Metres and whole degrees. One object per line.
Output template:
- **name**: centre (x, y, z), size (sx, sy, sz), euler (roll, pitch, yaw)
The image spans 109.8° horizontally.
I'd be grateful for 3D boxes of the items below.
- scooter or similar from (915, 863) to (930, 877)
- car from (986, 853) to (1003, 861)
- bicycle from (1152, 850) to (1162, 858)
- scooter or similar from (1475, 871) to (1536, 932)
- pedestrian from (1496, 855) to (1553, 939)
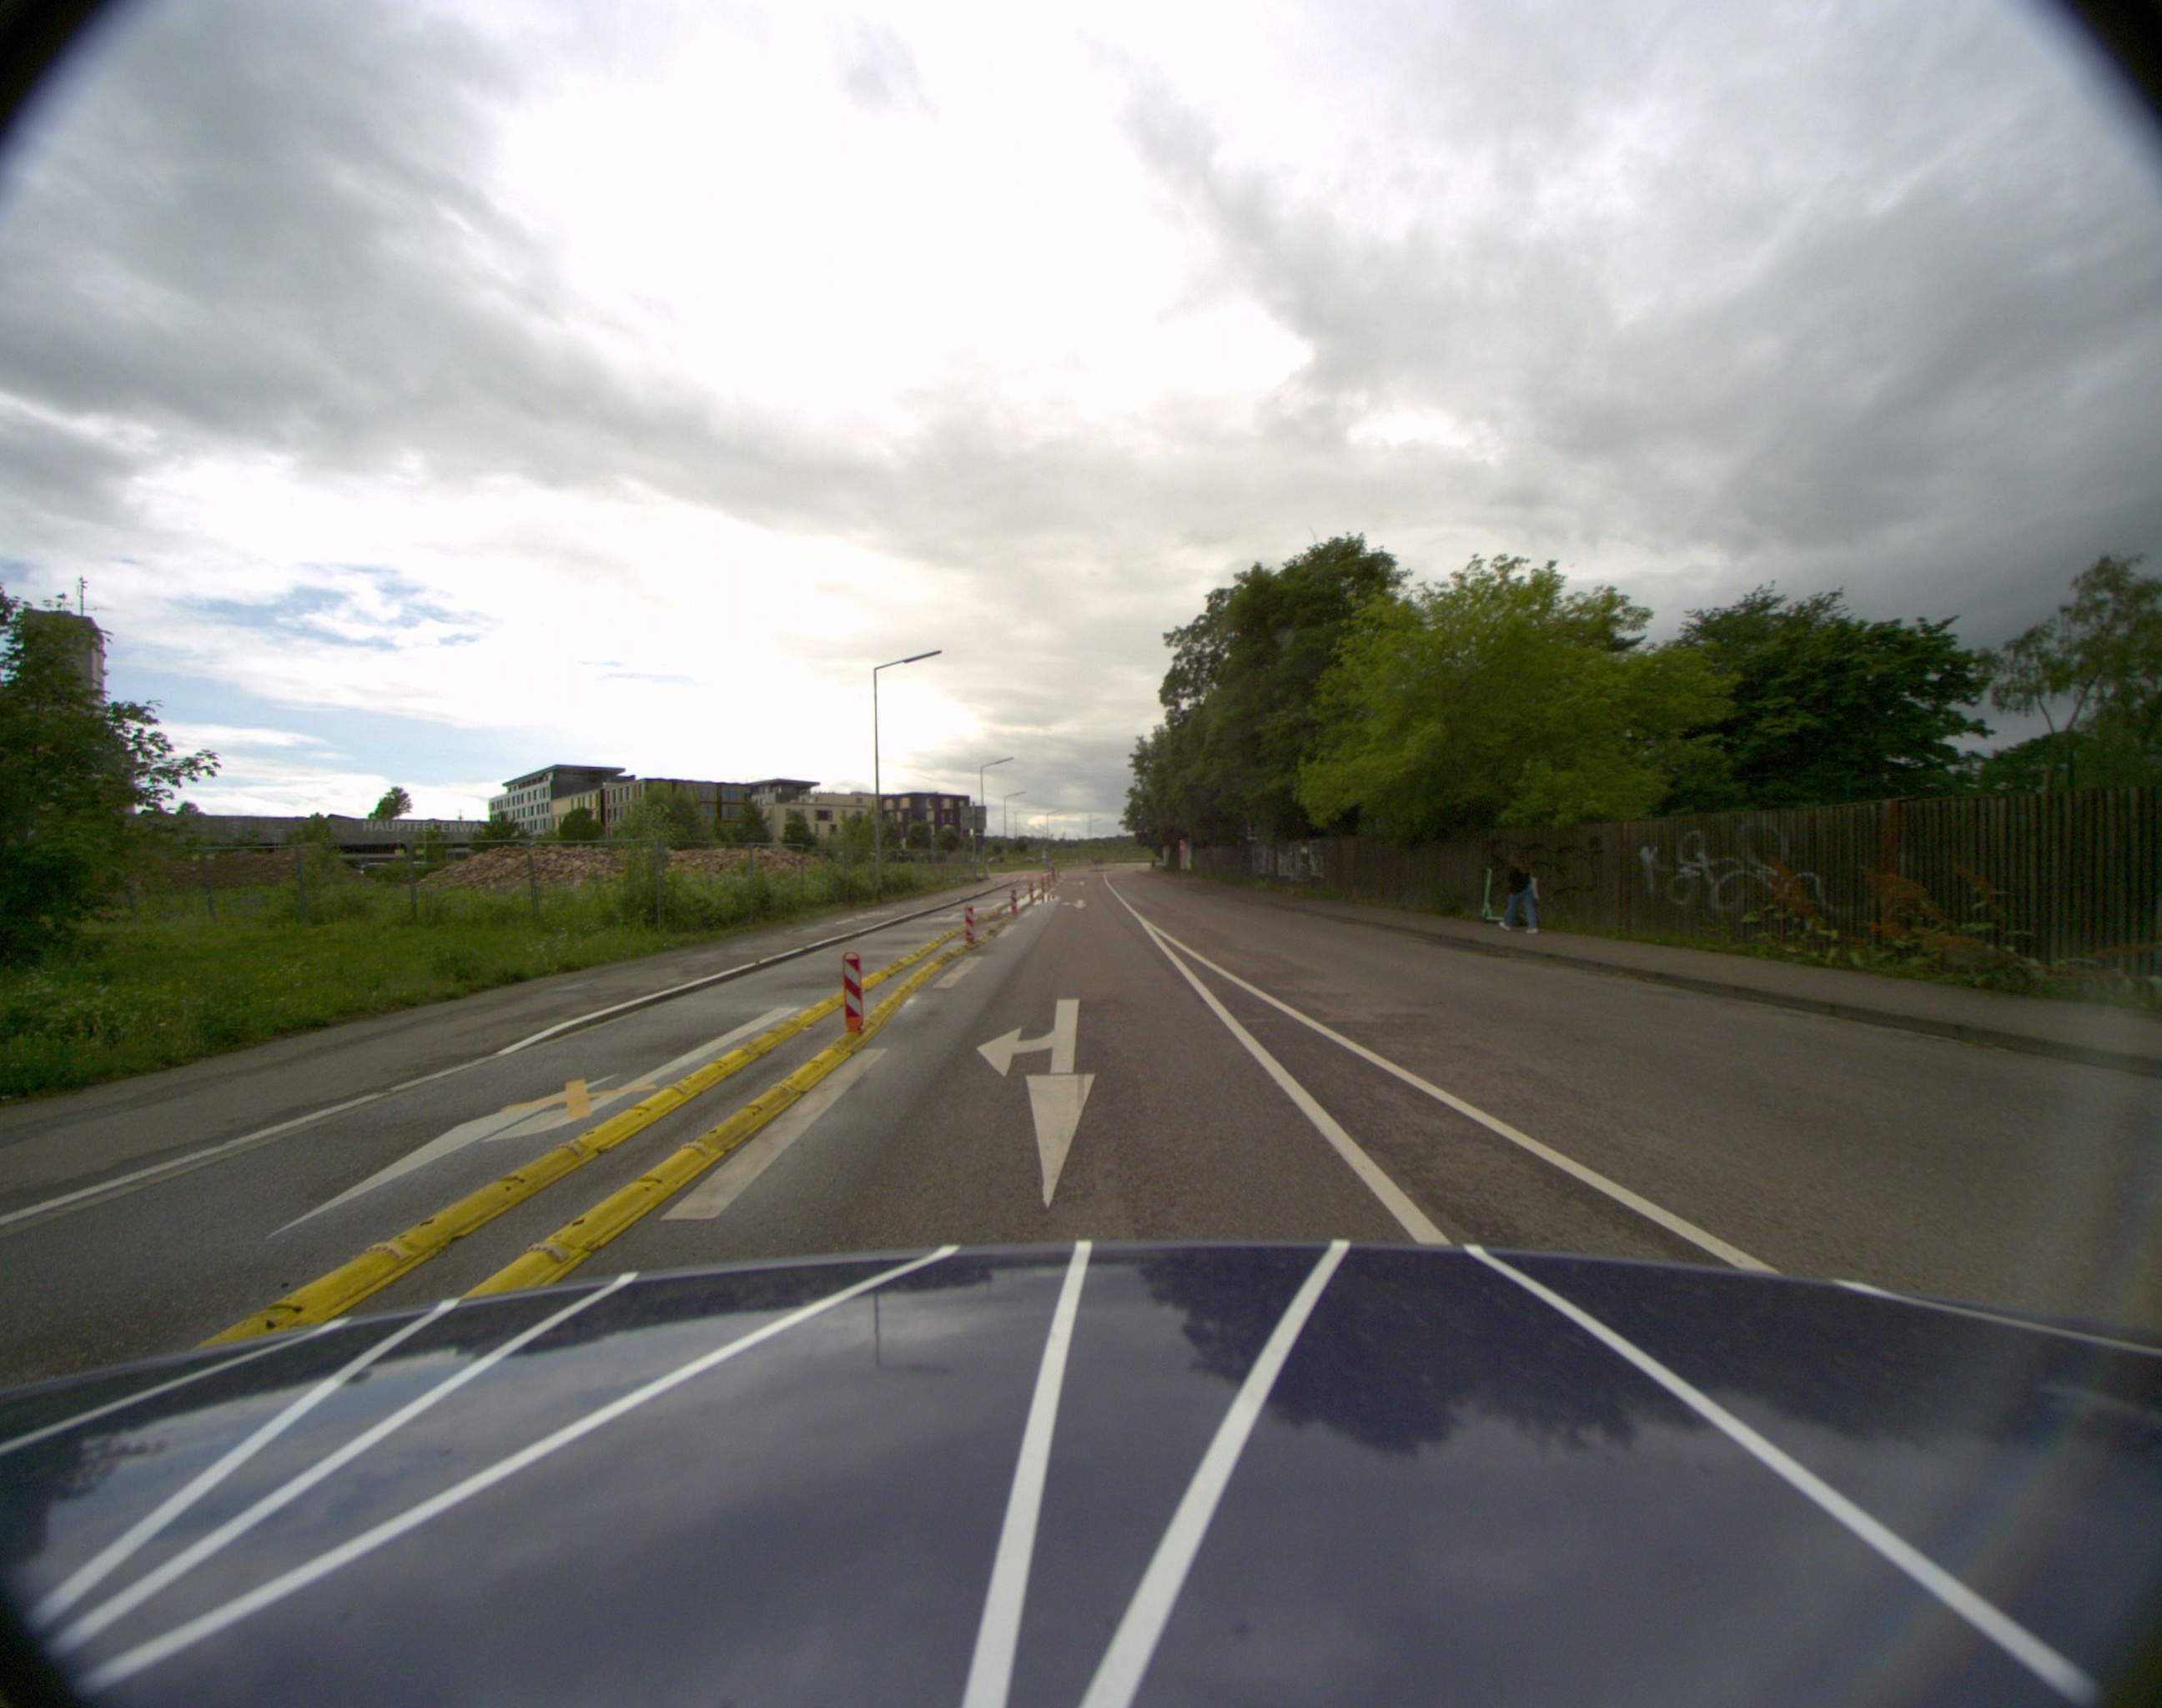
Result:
- **scooter or similar**: centre (-13.192, 1.335, 63.171), size (1.323, 1.178, 0.447), euler (0, 1, 41)
- **car**: centre (-21.566, 0.690, 189.064), size (1.994, 2.002, 4.008), euler (0, 0, 42)
- **bicycle**: centre (9.342, 0.004, 93.123), size (0.582, 0.992, 1.773), euler (-3, 0, 28)
- **scooter or similar**: centre (8.613, 0.934, 15.455), size (0.424, 1.164, 1.303), euler (-1, 0, -5)
- **pedestrian**: centre (8.255, 0.779, 14.165), size (0.614, 1.520, 0.724), euler (-1, 1, -4)
